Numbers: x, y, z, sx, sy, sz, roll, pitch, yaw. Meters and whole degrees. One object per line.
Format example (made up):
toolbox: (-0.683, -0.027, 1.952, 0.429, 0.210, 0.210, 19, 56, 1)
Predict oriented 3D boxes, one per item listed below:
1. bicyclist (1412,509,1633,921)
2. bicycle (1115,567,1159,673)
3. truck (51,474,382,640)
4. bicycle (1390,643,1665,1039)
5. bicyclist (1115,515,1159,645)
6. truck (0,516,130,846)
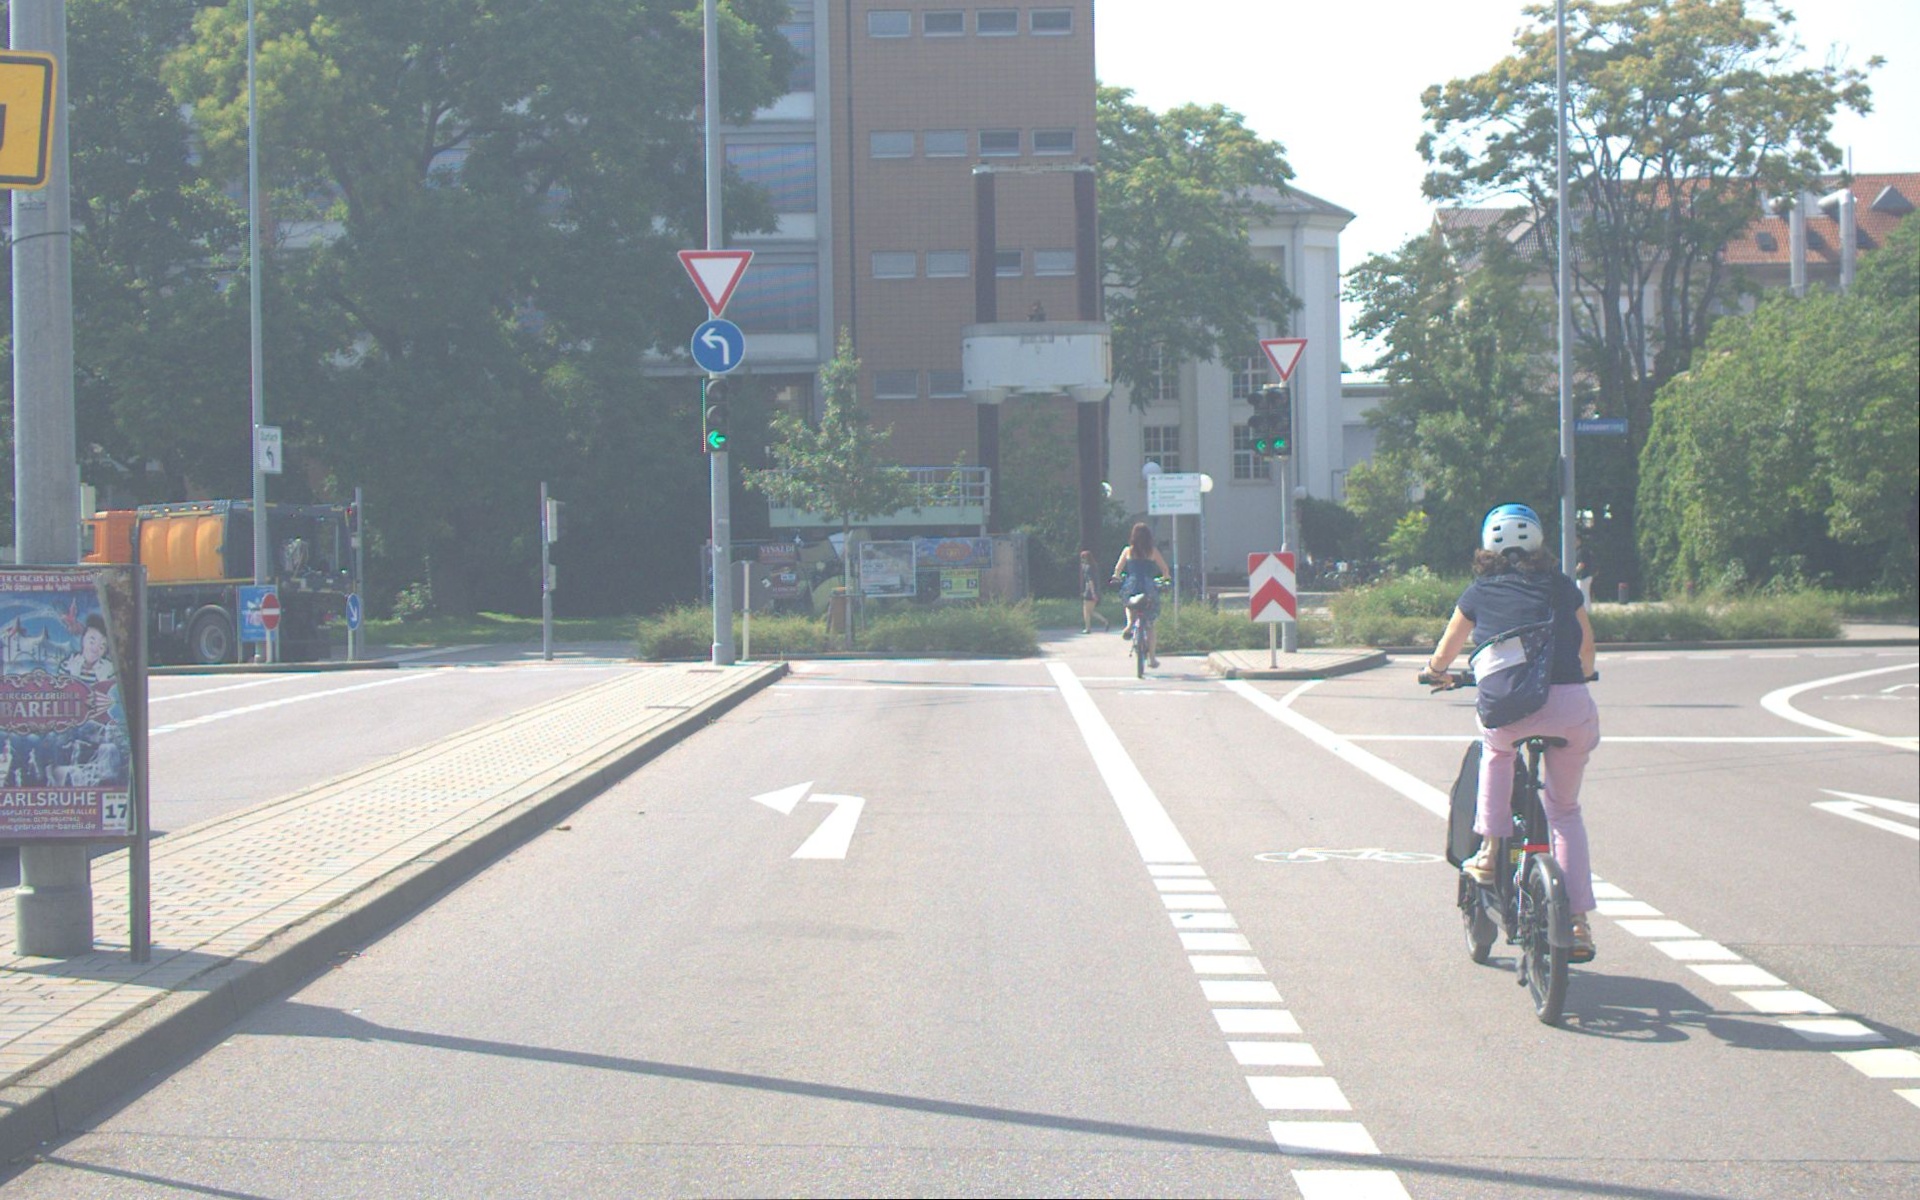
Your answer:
bicyclist: (1.872, 0.369, 11.502, 0.602, 1.330, 0.660, -1, 1, -1)
bicycle: (1.941, 0.205, 37.654, 0.444, 1.113, 1.446, -1, 1, 3)
truck: (-13.983, -0.783, 64.503, 5.958, 2.979, 2.700, 0, 1, 35)
bicycle: (1.864, 0.755, 11.512, 0.604, 1.159, 1.811, -1, 1, 0)
bicyclist: (1.944, -0.226, 37.793, 0.450, 1.416, 0.495, -1, 1, 4)
truck: (-5.155, 0.370, 16.317, 1.555, 1.499, 3.621, -1, 1, -1)
